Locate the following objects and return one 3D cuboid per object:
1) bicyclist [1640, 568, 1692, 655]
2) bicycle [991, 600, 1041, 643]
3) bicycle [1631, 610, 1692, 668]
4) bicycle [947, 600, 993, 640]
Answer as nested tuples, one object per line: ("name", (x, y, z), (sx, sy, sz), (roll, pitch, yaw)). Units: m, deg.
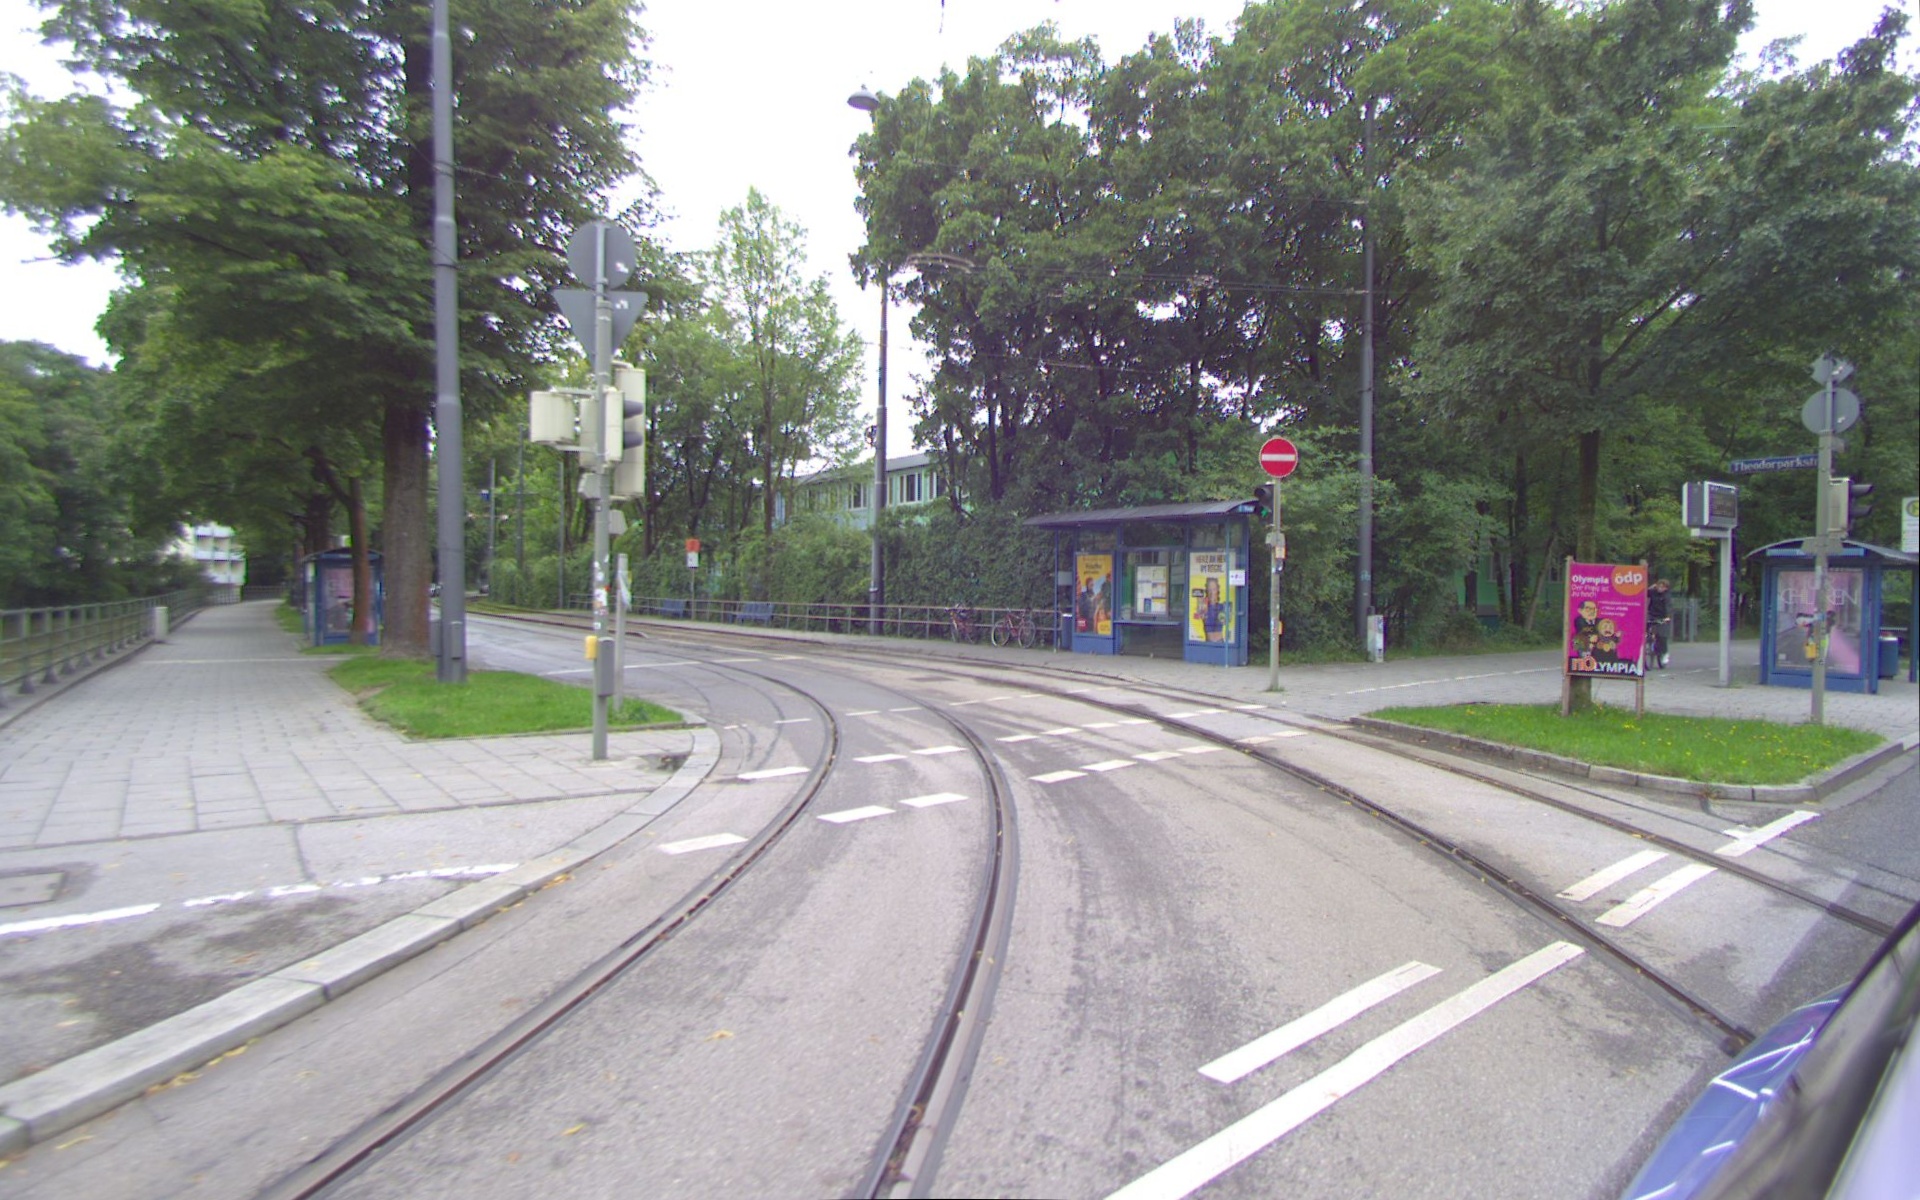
("bicyclist", (14.534, 0.232, 20.835), (0.714, 1.751, 0.725), (0, 0, -40))
("bicycle", (1.356, 0.516, 24.615), (0.366, 0.964, 1.484), (0, 2, -36))
("bicycle", (14.317, 0.769, 20.643), (1.879, 1.092, 0.579), (-1, 0, -41))
("bicycle", (0.237, 0.511, 26.120), (0.366, 0.964, 1.484), (0, 2, -36))
